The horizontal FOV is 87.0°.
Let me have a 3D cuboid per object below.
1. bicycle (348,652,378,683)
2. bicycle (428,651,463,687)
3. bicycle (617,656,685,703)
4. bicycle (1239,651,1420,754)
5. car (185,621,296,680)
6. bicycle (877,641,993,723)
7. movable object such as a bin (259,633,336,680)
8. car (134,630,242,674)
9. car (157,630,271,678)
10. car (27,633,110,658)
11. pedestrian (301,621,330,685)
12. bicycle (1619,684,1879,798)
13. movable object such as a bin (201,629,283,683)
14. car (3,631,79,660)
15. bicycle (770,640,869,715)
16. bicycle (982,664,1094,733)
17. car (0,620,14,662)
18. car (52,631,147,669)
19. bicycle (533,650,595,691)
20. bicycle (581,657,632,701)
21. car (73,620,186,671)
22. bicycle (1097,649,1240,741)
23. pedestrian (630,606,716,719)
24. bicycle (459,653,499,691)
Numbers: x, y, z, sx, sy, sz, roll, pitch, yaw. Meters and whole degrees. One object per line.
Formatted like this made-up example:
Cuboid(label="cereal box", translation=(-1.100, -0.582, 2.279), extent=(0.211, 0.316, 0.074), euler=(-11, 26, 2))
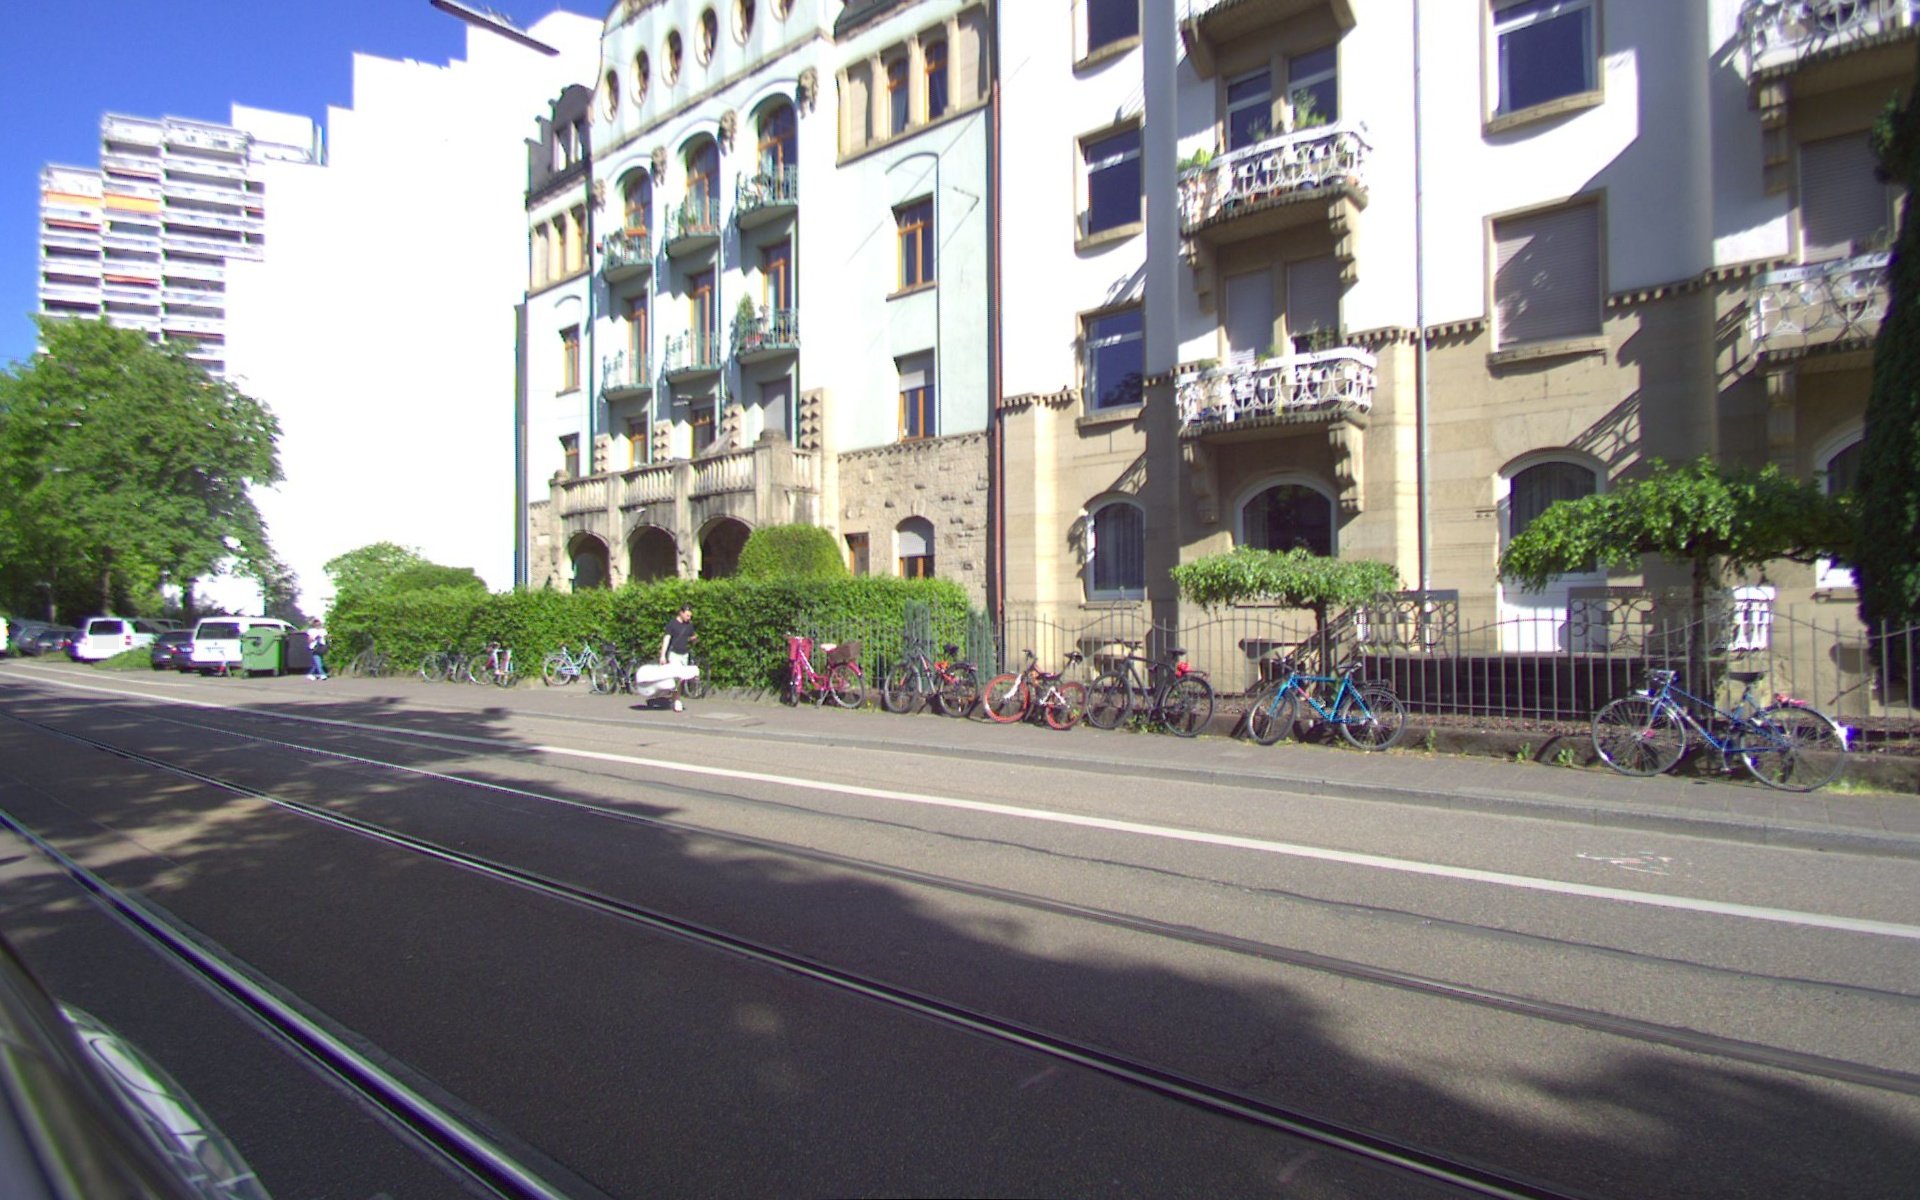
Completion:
Cuboid(label="bicycle", translation=(-15.644, 1.760, 26.493), extent=(1.263, 0.767, 0.293), euler=(-1, 0, 41))
Cuboid(label="bicycle", translation=(-11.955, 1.599, 23.504), extent=(1.263, 0.767, 0.293), euler=(-1, 0, 41))
Cuboid(label="bicycle", translation=(-5.581, 1.417, 18.239), extent=(1.581, 0.767, 0.400), euler=(-1, 0, 41))
Cuboid(label="bicycle", translation=(3.830, 1.038, 10.603), extent=(1.748, 0.949, 0.400), euler=(-1, 0, 41))
Cuboid(label="car", translation=(-22.830, 1.614, 32.232), extent=(1.438, 1.787, 3.189), euler=(-1, -3, -5))
Cuboid(label="bicycle", translation=(-0.371, 1.109, 14.041), extent=(1.815, 1.031, 0.400), euler=(-1, 0, 41))
Cuboid(label="movable object such as a bin", translation=(-20.462, 1.717, 31.260), extent=(2.095, 1.326, 1.482), euler=(-1, 0, 41))
Cuboid(label="car", translation=(-27.689, 1.830, 36.350), extent=(1.451, 1.446, 2.734), euler=(-1, 0, 24))
Cuboid(label="car", translation=(-25.132, 1.797, 34.161), extent=(1.451, 1.446, 2.734), euler=(-1, 0, 24))
Cuboid(label="car", translation=(-42.927, 2.179, 48.768), extent=(1.220, 1.097, 2.734), euler=(-1, 0, 24))
Cuboid(label="pedestrian", translation=(-16.976, 1.379, 26.656), extent=(0.659, 1.641, 0.469), euler=(-1, 0, 41))
Cuboid(label="bicycle", translation=(6.411, 1.118, 8.304), extent=(1.651, 0.767, 0.314), euler=(-1, 0, 41))
Cuboid(label="movable object such as a bin", translation=(-20.814, 1.589, 29.337), extent=(2.095, 1.443, 1.493), euler=(-1, 0, 41))
Cuboid(label="car", translation=(-48.450, 2.378, 53.376), extent=(1.220, 1.436, 2.734), euler=(-1, 0, 24))
Cuboid(label="bicycle", translation=(-2.162, 1.155, 15.439), extent=(1.815, 1.031, 0.400), euler=(-1, 0, 41))
Cuboid(label="bicycle", translation=(0.969, 1.225, 12.856), extent=(1.542, 0.767, 0.314), euler=(-1, 0, 41))
Cuboid(label="car", translation=(-47.207, 1.981, 48.851), extent=(1.968, 1.918, 4.008), euler=(-1, 0, -39))
Cuboid(label="car", translation=(-36.169, 2.084, 42.590), extent=(1.451, 1.446, 2.734), euler=(-1, 0, 24))
Cuboid(label="bicycle", translation=(-8.574, 1.519, 21.942), extent=(0.297, 0.799, 1.246), euler=(-1, 0, 41))
Cuboid(label="bicycle", translation=(-6.723, 1.487, 19.215), extent=(1.263, 0.767, 0.335), euler=(-1, 0, 41))
Cuboid(label="car", translation=(-33.299, 1.794, 40.694), extent=(1.894, 1.885, 3.447), euler=(-1, 0, -4))
Cuboid(label="bicycle", translation=(2.398, 1.079, 11.781), extent=(1.648, 0.949, 0.400), euler=(-1, 0, 41))
Cuboid(label="pedestrian", translation=(-4.504, 0.954, 15.873), extent=(0.870, 1.640, 0.858), euler=(-1, 4, 41))
Cuboid(label="bicycle", translation=(-10.610, 1.582, 22.322), extent=(1.263, 0.767, 0.314), euler=(-1, 0, 41))
